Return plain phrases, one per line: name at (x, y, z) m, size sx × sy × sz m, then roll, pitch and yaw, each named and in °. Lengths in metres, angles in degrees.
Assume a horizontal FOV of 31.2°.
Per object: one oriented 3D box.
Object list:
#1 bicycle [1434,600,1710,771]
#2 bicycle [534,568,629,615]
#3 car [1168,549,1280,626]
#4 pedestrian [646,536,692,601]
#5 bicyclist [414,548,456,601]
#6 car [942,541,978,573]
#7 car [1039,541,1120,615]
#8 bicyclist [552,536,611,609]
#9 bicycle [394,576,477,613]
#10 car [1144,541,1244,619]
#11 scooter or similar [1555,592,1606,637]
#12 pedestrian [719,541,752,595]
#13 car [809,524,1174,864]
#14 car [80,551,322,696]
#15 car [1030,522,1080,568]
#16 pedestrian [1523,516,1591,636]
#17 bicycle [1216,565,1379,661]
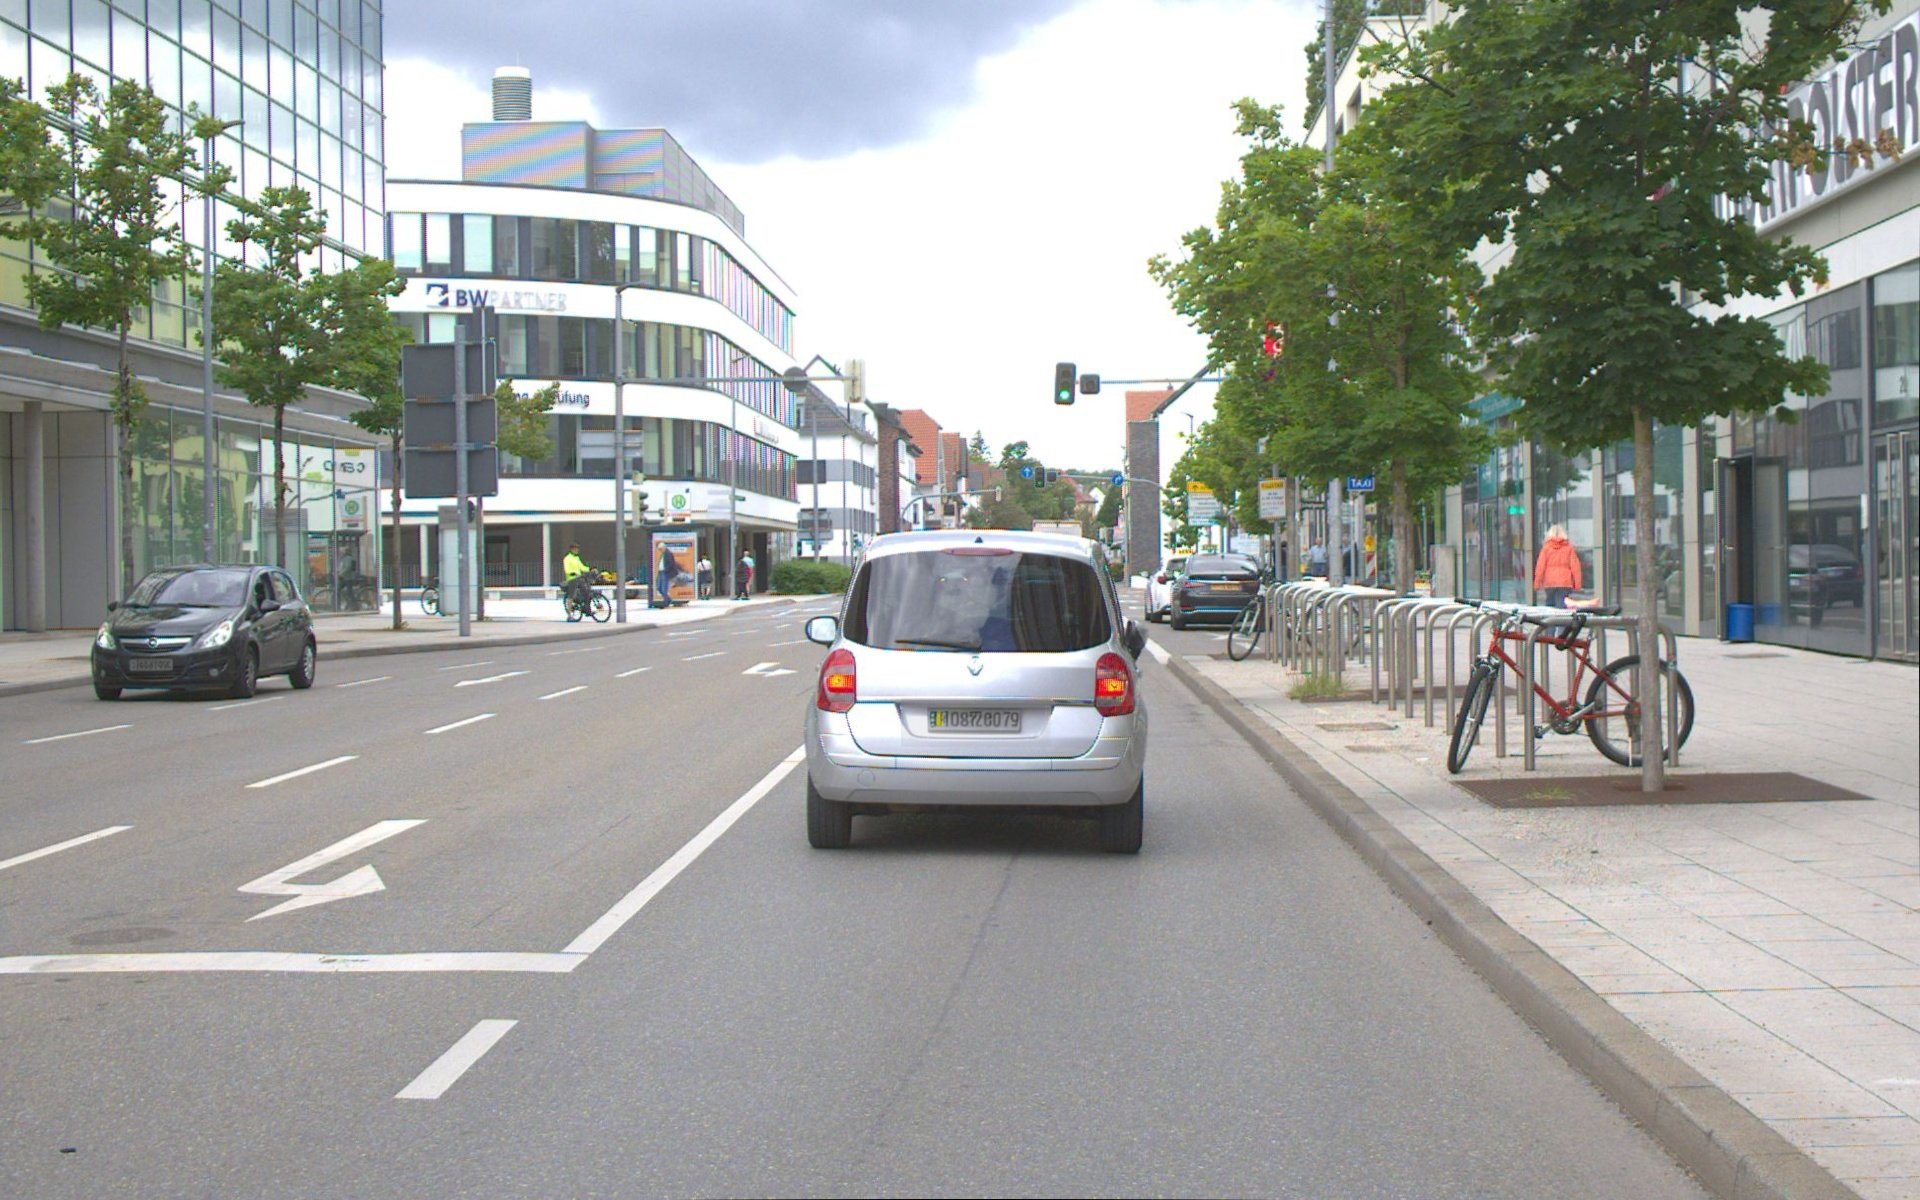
bicycle at (3.644, 0.504, 20.566) m, size 1.561 × 0.989 × 0.752 m, roll 0°, pitch 1°, yaw 5°
bicycle at (-8.805, -0.202, 79.876) m, size 1.006 × 1.015 × 3.130 m, roll 1°, pitch 1°, yaw -30°
car at (4.936, -0.252, 64.741) m, size 1.877 × 1.330 × 4.000 m, roll 2°, pitch 1°, yaw 2°
pedestrian at (-8.407, -0.912, 99.186) m, size 1.246 × 1.827 × 0.964 m, roll -1°, pitch 1°, yaw -7°
bicyclist at (-13.235, -0.639, 86.685) m, size 0.827 × 1.322 × 0.651 m, roll -1°, pitch 1°, yaw -41°
car at (0.022, -2.827, 224.870) m, size 2.170 × 2.007 × 4.258 m, roll -1°, pitch 1°, yaw 2°
car at (2.662, -0.511, 77.033) m, size 1.669 × 1.549 × 3.642 m, roll 2°, pitch 1°, yaw 0°
bicyclist at (-8.796, -0.647, 79.884) m, size 1.006 × 1.655 × 0.933 m, roll 2°, pitch 0°, yaw -30°
bicycle at (-13.227, -0.148, 86.682) m, size 0.827 × 0.895 × 2.524 m, roll -1°, pitch 1°, yaw -41°
car at (4.817, -0.432, 71.082) m, size 1.877 × 1.503 × 4.000 m, roll 2°, pitch 1°, yaw 2°
scooter or similar at (8.239, 0.191, 45.667) m, size 0.550 × 0.544 × 0.642 m, roll -3°, pitch 1°, yaw 2°
pedestrian at (-7.691, -1.086, 117.790) m, size 0.960 × 1.827 × 1.250 m, roll -1°, pitch 1°, yaw 2°
car at (0.124, 0.408, 17.944) m, size 1.669 × 1.549 × 3.642 m, roll 2°, pitch 1°, yaw -1°
car at (-8.345, 0.219, 38.116) m, size 1.660 × 1.475 × 4.000 m, roll -1°, pitch 1°, yaw 2°
car at (4.286, -2.479, 155.051) m, size 2.170 × 2.007 × 4.258 m, roll -1°, pitch 1°, yaw 2°
pedestrian at (8.072, -0.331, 46.482) m, size 0.710 × 1.569 × 0.812 m, roll -3°, pitch 1°, yaw 2°
bicycle at (3.974, 0.146, 40.526) m, size 1.825 × 1.071 × 0.752 m, roll -2°, pitch 1°, yaw 0°
